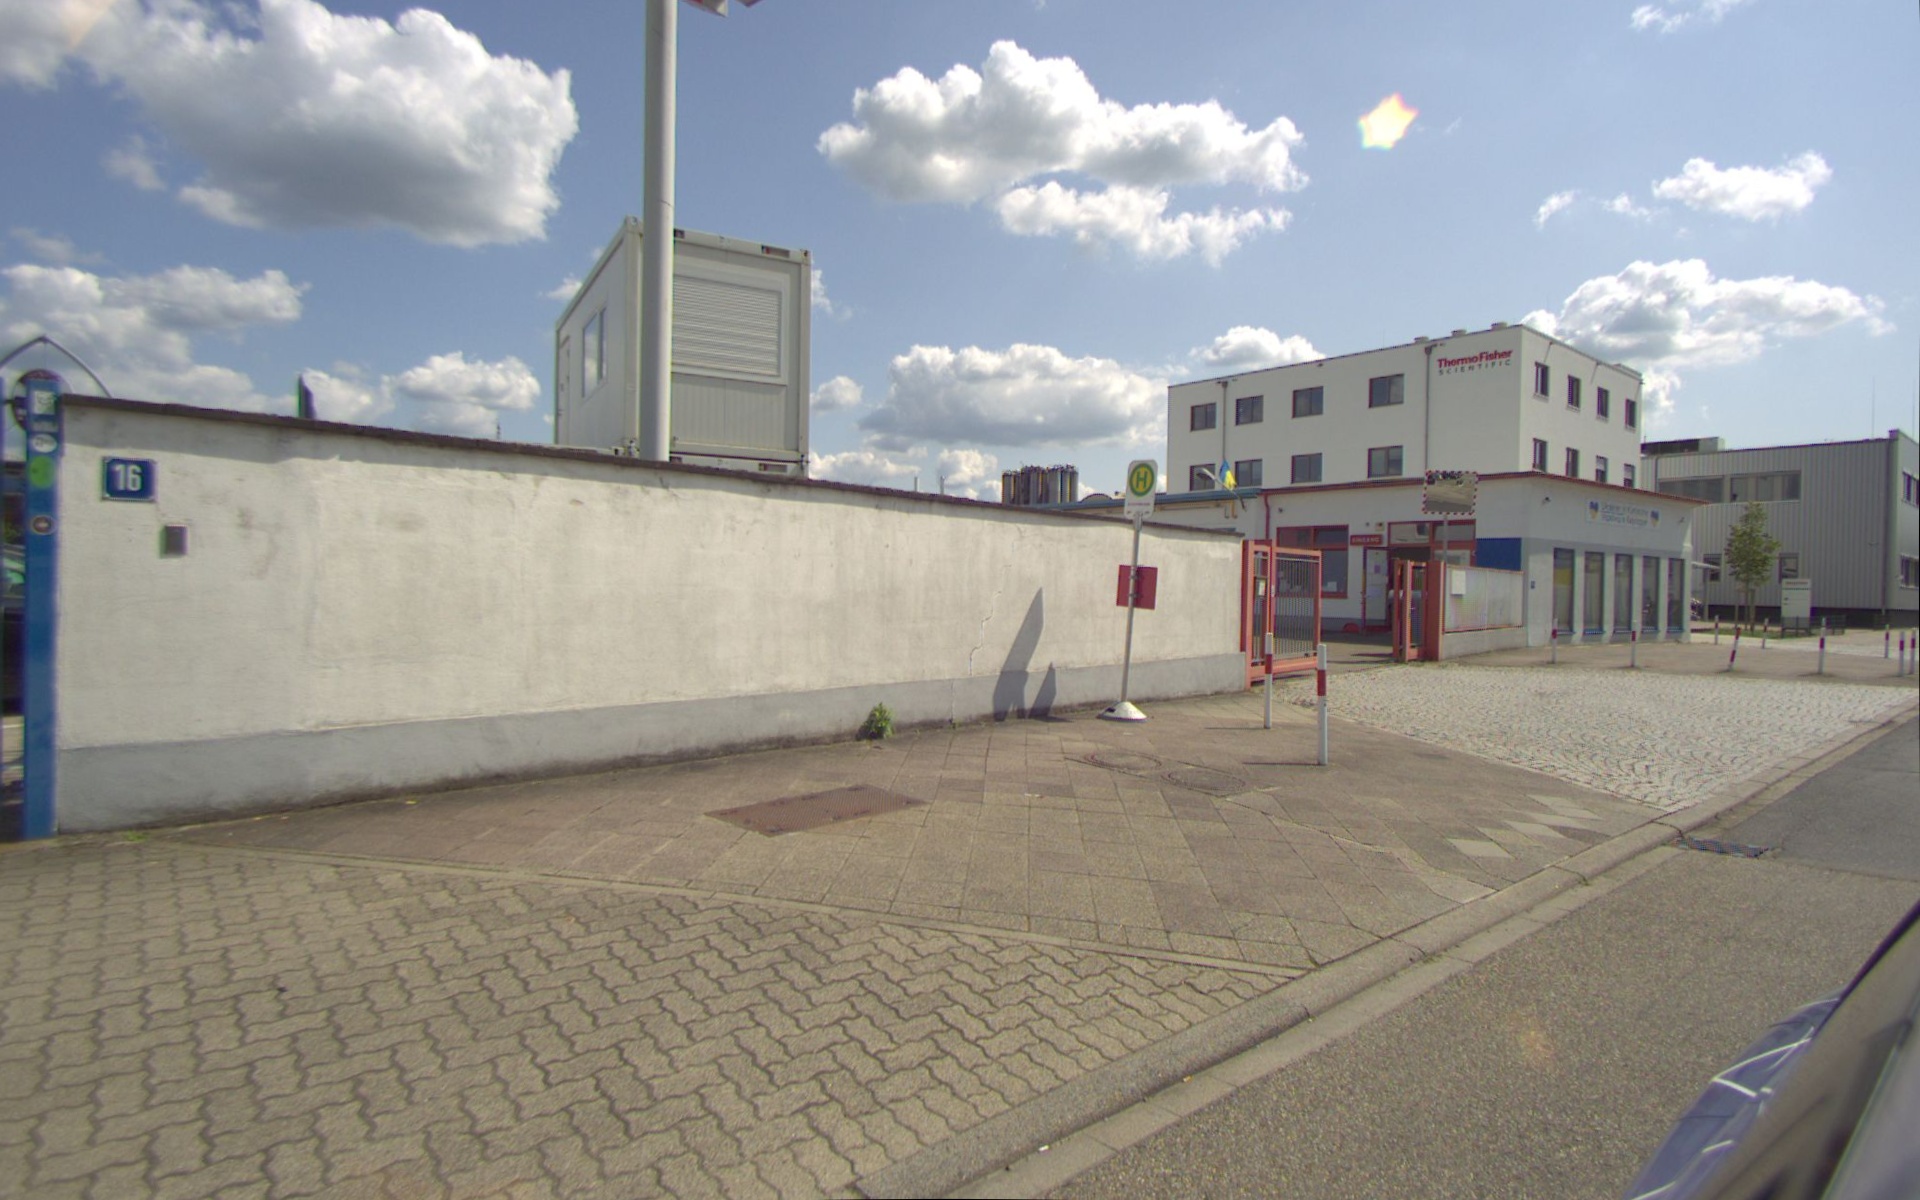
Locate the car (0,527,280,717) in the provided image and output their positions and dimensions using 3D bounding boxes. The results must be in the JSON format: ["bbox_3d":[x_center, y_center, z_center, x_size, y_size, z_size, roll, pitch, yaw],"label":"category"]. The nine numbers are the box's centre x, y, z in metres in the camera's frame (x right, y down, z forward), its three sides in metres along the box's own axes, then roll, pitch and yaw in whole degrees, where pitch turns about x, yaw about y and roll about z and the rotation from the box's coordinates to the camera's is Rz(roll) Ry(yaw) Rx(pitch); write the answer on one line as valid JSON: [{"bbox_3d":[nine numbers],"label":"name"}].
[{"bbox_3d":[-8.049,0.144,8.277,1.735,1.459,3.784,2,2,36],"label":"car"}]
